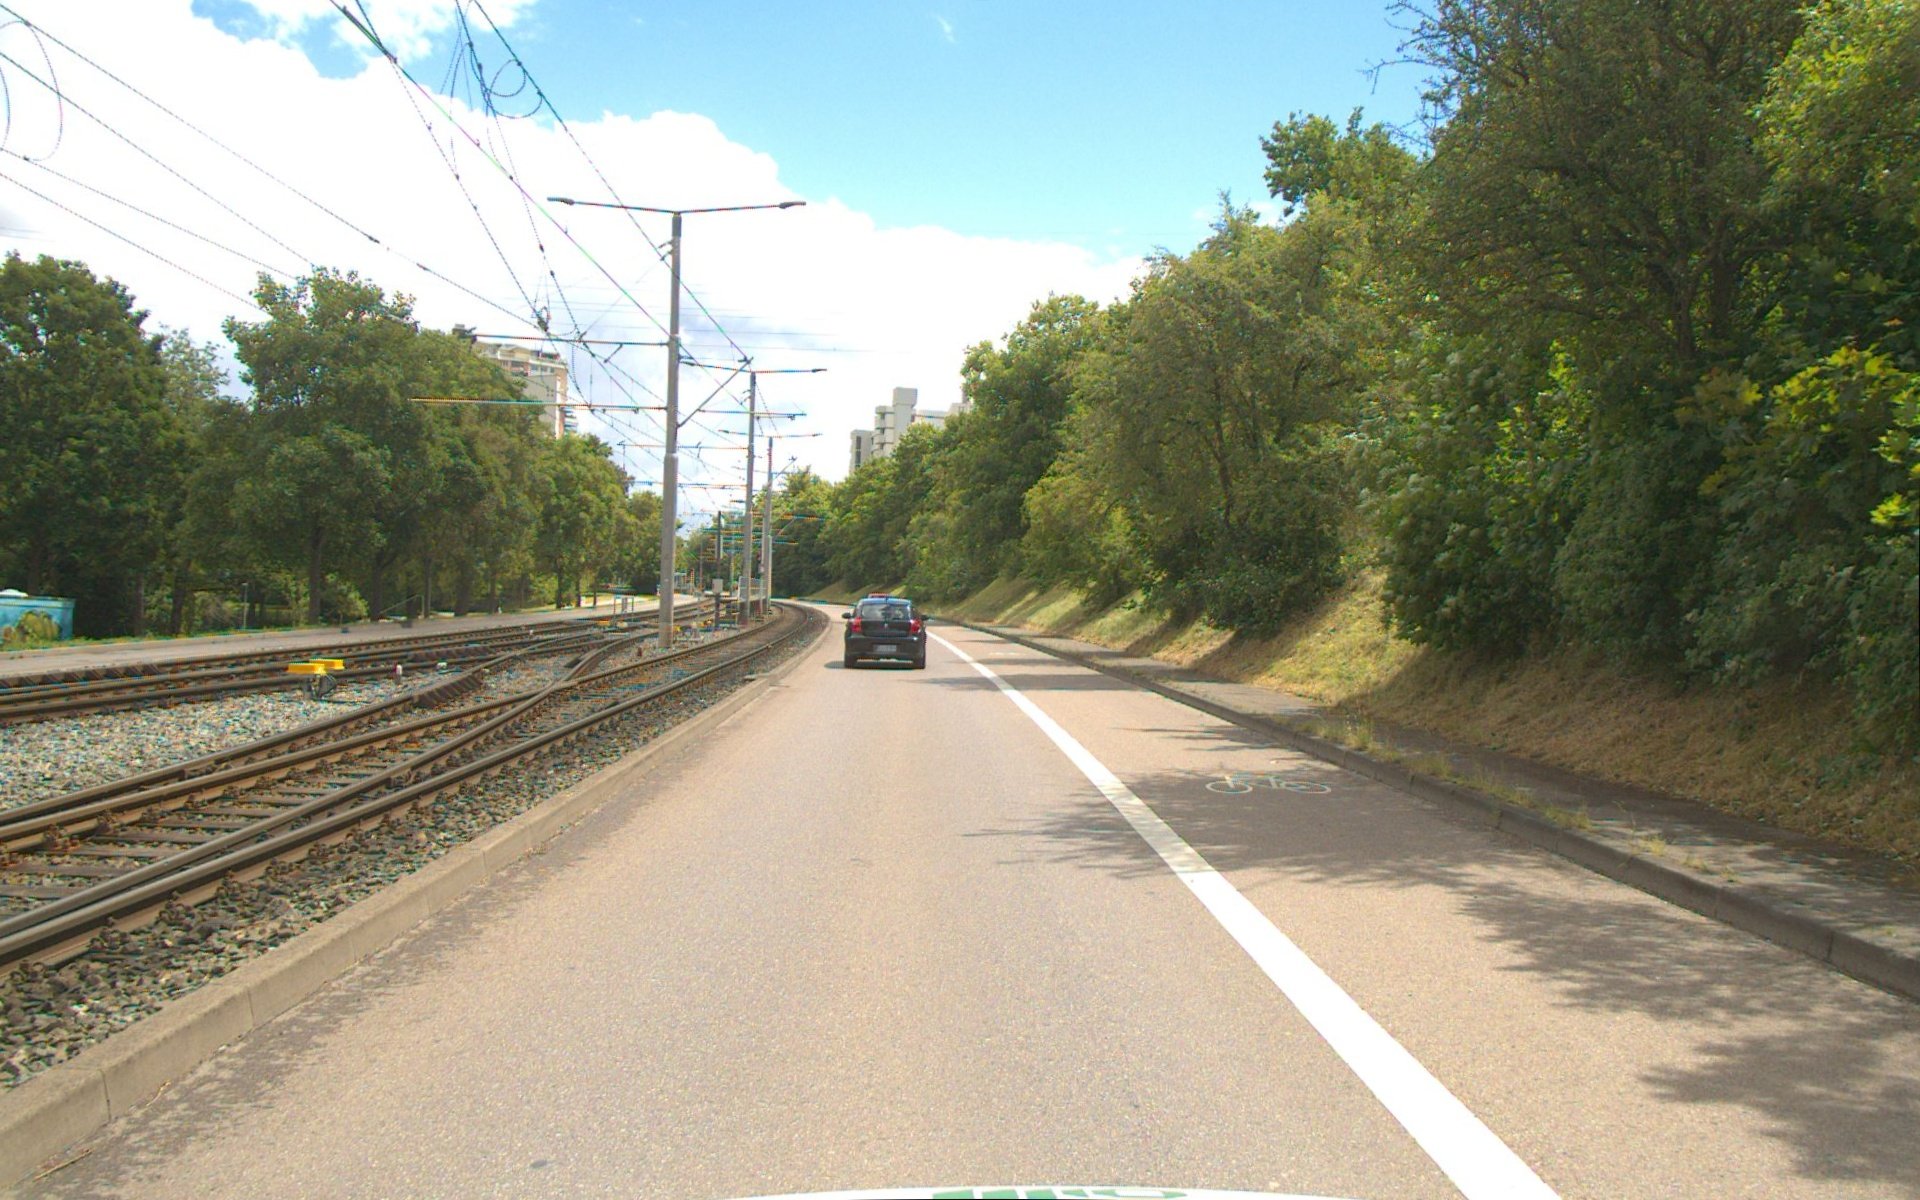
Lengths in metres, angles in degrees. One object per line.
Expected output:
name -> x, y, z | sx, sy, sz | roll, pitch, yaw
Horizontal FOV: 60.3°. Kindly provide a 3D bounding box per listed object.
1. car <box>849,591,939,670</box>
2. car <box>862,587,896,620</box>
car -> -1.350, 0.632, 35.131 | 1.673, 1.486, 3.960 | 3, -1, 0
car -> -3.984, 0.138, 81.133 | 1.592, 1.468, 3.420 | 3, 1, -3
